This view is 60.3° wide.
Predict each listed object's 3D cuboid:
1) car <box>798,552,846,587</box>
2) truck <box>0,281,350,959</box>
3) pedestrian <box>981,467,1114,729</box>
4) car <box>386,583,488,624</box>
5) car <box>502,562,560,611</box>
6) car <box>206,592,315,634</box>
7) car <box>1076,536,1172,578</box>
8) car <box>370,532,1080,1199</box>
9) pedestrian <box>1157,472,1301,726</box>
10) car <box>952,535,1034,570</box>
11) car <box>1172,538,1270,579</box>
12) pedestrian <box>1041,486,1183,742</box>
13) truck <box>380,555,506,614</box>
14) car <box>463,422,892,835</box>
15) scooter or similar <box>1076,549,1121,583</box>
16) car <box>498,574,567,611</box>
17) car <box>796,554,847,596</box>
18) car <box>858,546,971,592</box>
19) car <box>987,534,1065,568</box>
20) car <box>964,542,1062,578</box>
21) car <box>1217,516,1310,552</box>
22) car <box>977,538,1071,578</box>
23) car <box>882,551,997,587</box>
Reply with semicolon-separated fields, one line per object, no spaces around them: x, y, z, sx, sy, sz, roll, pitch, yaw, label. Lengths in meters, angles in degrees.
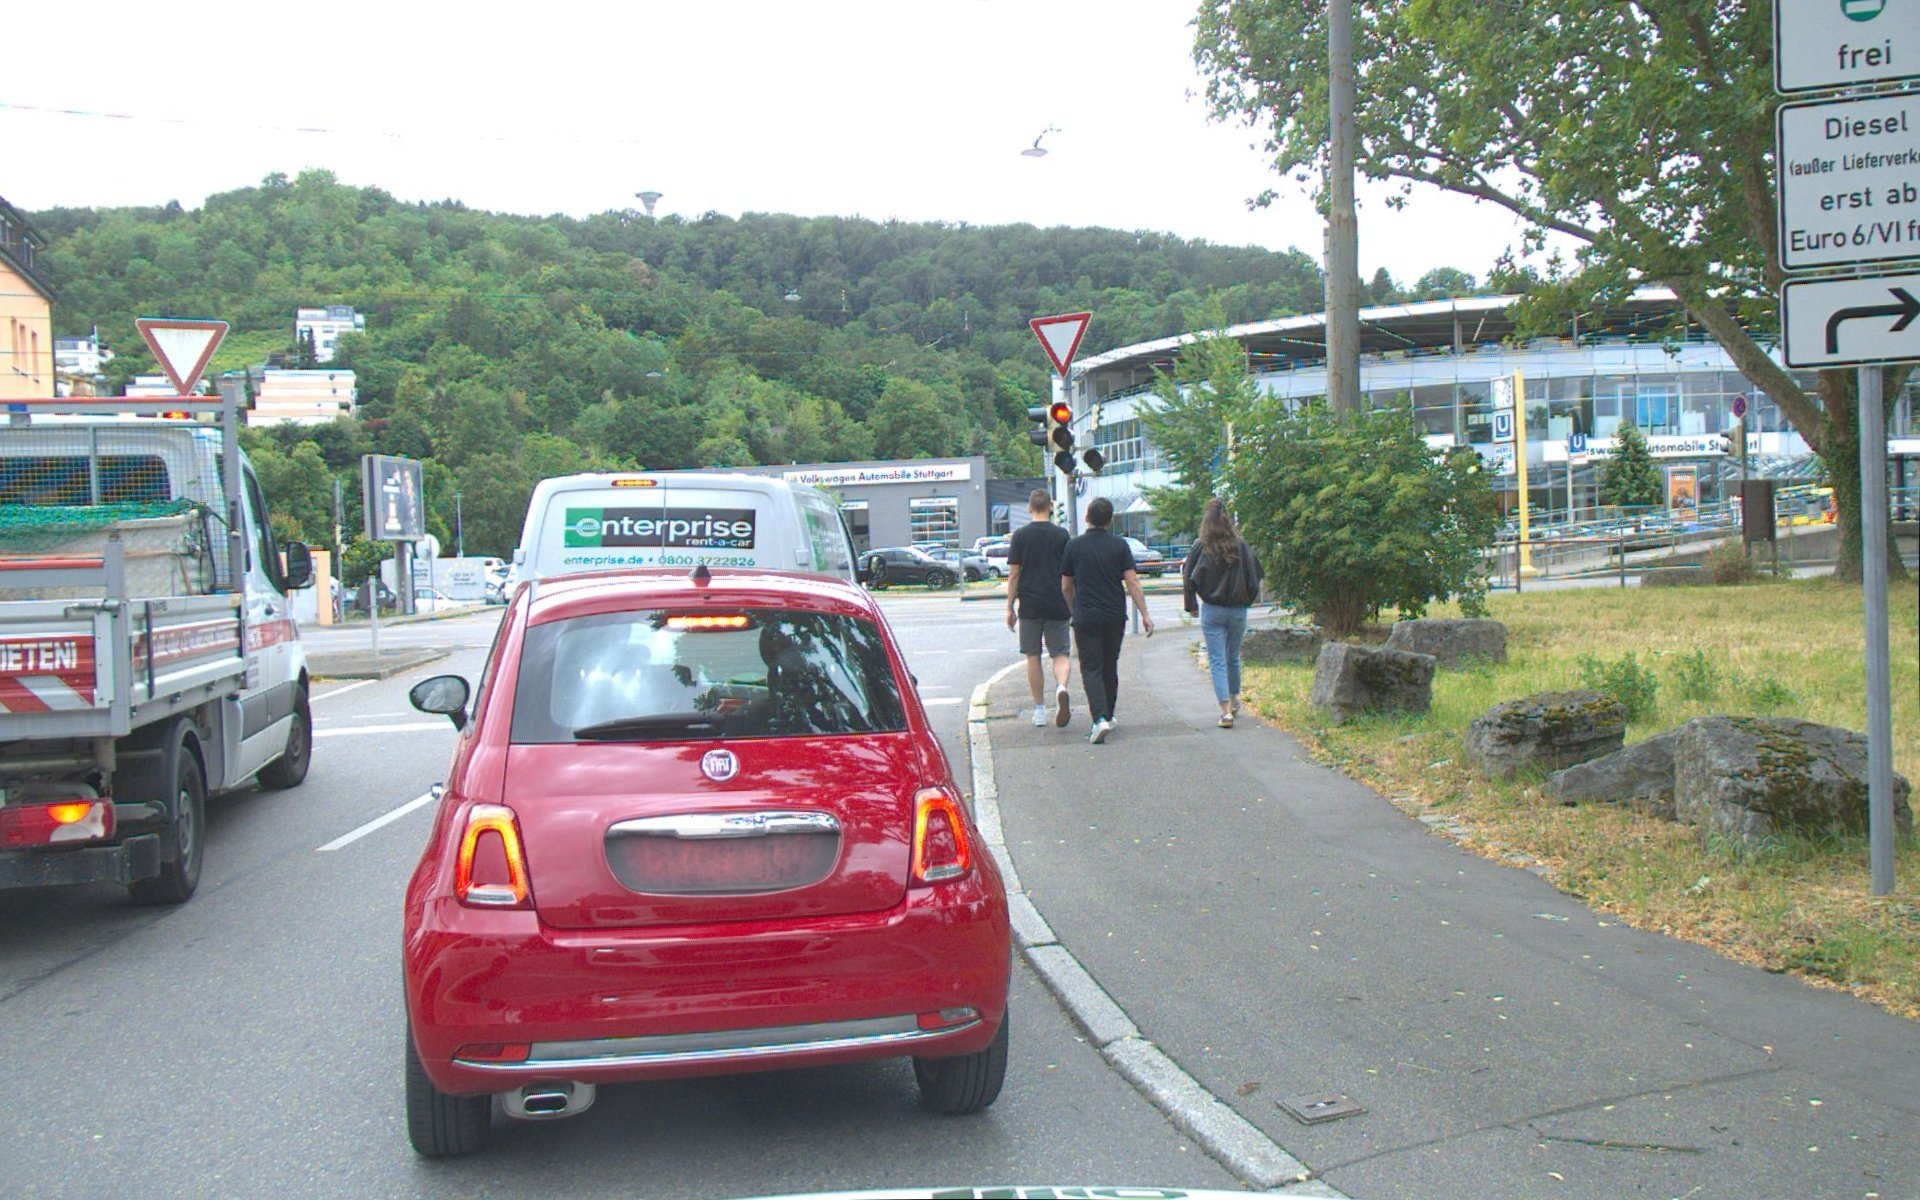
-6.531;-1.466;78.718;1.733;1.559;4.092;-2;2;2;car
-4.889;0.073;8.687;2.381;2.439;6.007;-3;2;-14;truck
0.656;-0.028;12.527;0.683;1.889;0.784;-3;1;-19;pedestrian
-22.893;0.157;72.550;4.136;1.559;1.768;-3;2;-16;car
-17.625;-0.582;68.092;1.826;1.849;4.393;-3;2;-10;car
-29.651;0.531;70.250;4.147;1.559;1.763;-3;2;-23;car
6.440;-1.673;65.333;1.754;1.526;3.836;-3;2;-33;car
-0.854;0.574;5.548;1.610;1.482;3.421;-2;1;-12;car
1.963;-0.016;12.130;0.683;1.770;0.784;-3;1;-19;pedestrian
1.942;-2.784;96.309;4.697;1.834;1.776;-2;1;1;car
10.572;-1.656;67.116;1.753;1.526;3.979;-3;2;-31;car
1.082;0.085;11.856;0.683;1.744;0.784;-3;1;-19;pedestrian
-23.619;-0.716;75.564;5.127;2.434;1.981;-3;2;-29;truck
-1.624;0.091;11.335;1.949;2.143;4.762;-3;1;1;car
5.252;-1.283;62.504;1.633;1.198;0.468;-2;1;6;scooter or similar
-19.273;-0.340;74.414;1.754;1.560;4.043;-3;2;-33;car
-6.570;-1.204;78.747;1.953;1.847;4.001;-2;2;1;car
-1.671;-1.139;61.446;3.787;1.526;1.777;-2;2;16;car
4.029;-3.013;101.245;4.697;1.834;1.776;-2;1;1;car
2.603;-1.973;81.174;4.697;1.560;1.776;-2;2;1;car
14.657;-3.188;80.073;4.144;1.517;1.784;-1;2;45;car
3.284;-2.155;84.733;4.697;1.834;1.776;-2;1;1;car
-0.864;-1.326;70.590;4.572;1.351;1.777;-2;2;13;car
